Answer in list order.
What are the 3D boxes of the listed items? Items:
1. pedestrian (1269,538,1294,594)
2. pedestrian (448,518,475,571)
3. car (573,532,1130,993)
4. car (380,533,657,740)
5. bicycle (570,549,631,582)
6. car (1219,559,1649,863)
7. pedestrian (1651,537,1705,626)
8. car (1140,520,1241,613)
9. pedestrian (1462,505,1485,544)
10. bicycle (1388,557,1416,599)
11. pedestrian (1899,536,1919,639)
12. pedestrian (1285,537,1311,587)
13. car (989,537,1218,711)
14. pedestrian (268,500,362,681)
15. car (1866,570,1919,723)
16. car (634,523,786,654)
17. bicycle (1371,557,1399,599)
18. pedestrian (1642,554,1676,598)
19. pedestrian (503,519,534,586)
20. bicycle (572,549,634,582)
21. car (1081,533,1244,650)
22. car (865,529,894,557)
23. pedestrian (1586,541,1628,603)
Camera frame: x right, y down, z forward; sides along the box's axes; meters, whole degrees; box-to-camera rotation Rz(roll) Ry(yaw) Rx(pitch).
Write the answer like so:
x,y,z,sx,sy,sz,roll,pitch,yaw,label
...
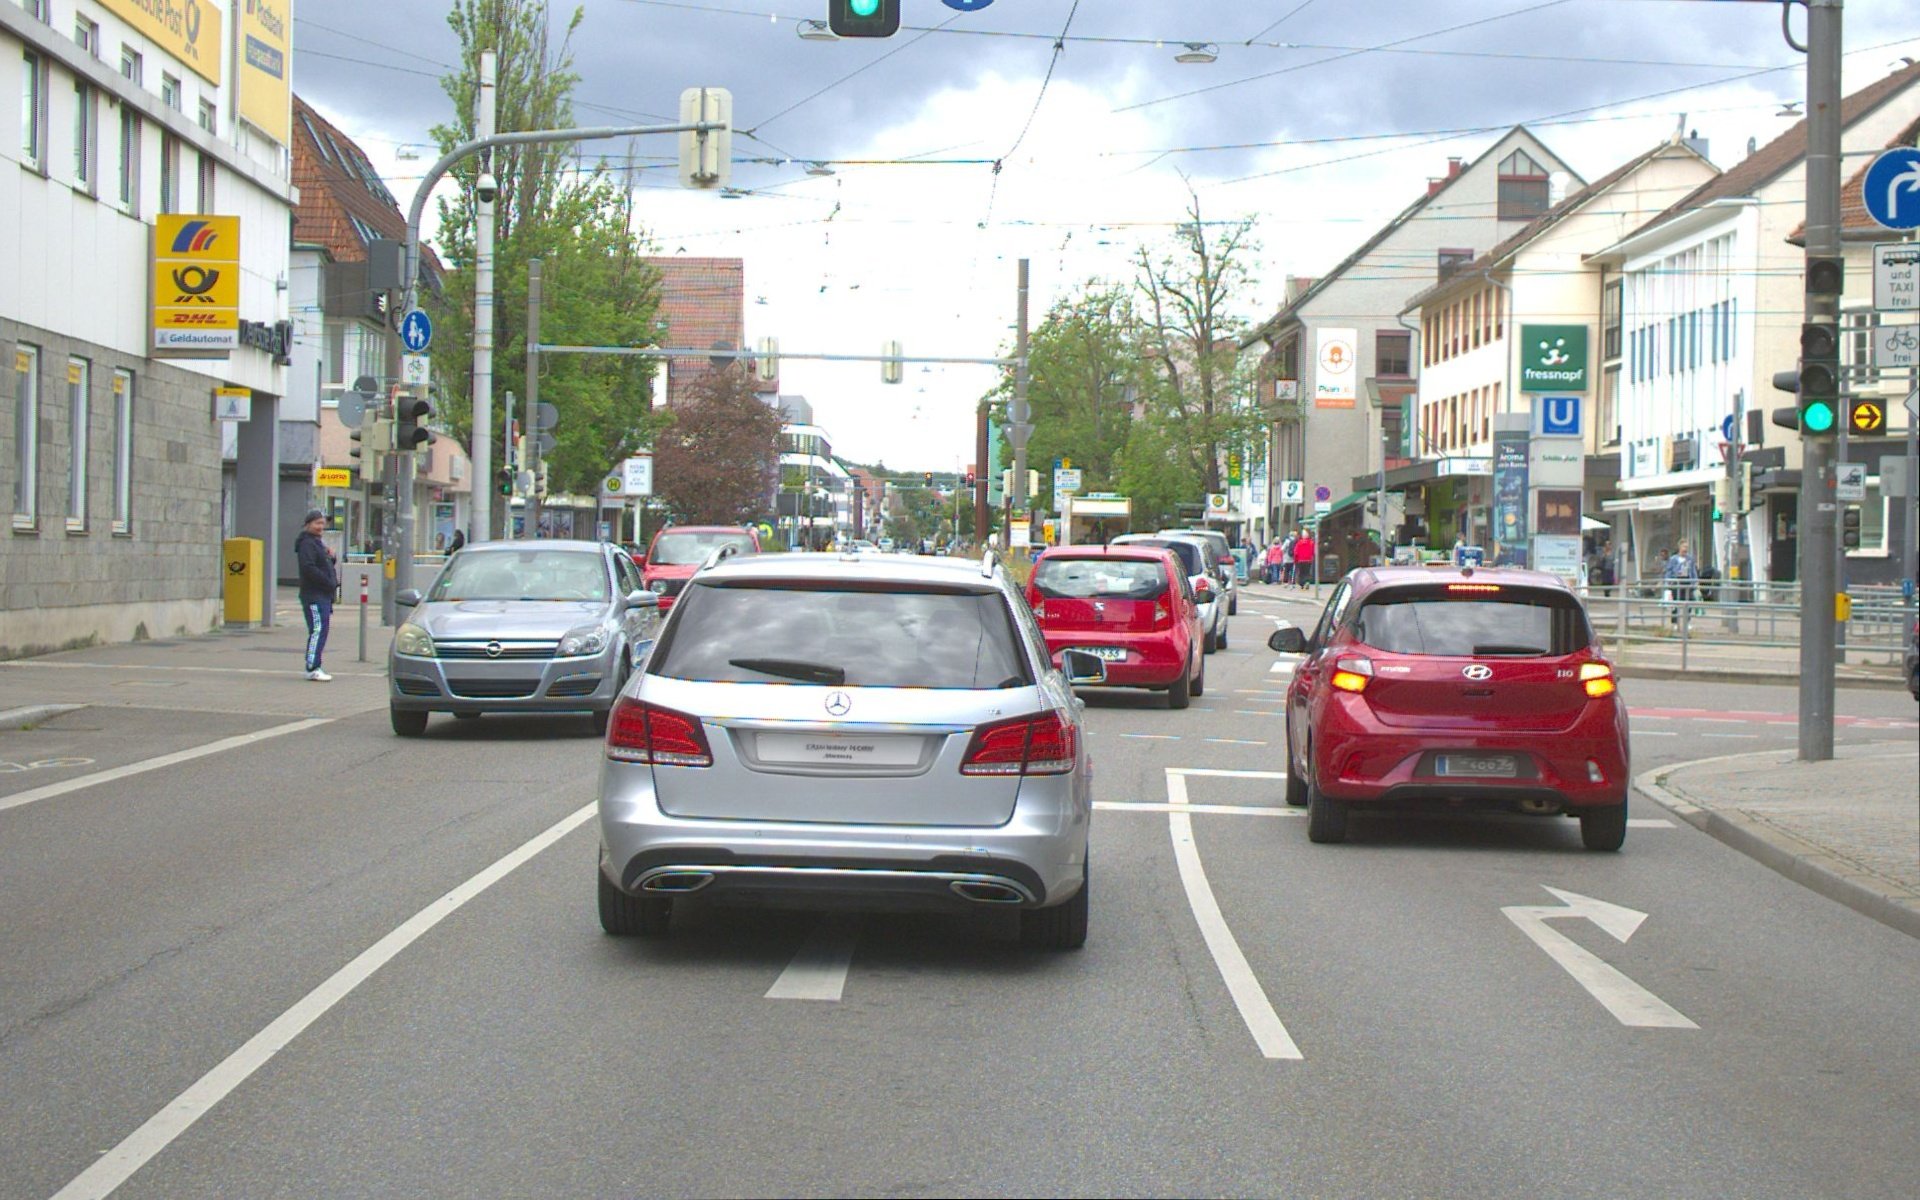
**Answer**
x,y,z,sx,sy,sz,roll,pitch,yaw,label
9.776,-1.043,104.555,0.577,1.661,0.651,2,1,-8,pedestrian
-15.296,-1.697,105.518,0.702,1.600,0.580,1,1,-21,pedestrian
-0.481,0.520,13.862,1.845,1.503,4.172,3,1,-3,car
-3.317,0.222,26.422,1.657,1.461,3.921,0,1,-1,car
-11.846,-1.138,113.251,1.937,1.025,0.530,2,1,-10,bicycle
2.597,0.551,19.732,1.698,1.447,4.001,3,1,-2,car
14.039,-0.363,67.203,0.841,1.712,0.727,1,1,-4,pedestrian
4.539,-0.682,68.192,1.734,1.753,4.000,1,1,0,car
15.989,-2.351,107.039,0.533,1.214,0.580,2,1,-3,pedestrian
11.741,-0.596,91.428,0.448,1.103,2.149,1,1,0,bicycle
16.318,-0.215,57.879,0.702,1.712,0.650,0,1,-18,pedestrian
9.964,-1.120,101.314,0.578,1.464,0.651,2,1,-6,pedestrian
1.421,0.178,32.649,1.735,1.503,3.999,2,1,8,car
-6.275,-0.099,33.471,0.648,1.712,0.782,2,1,6,pedestrian
10.654,0.437,32.928,3.988,1.406,1.739,0,2,-38,car
-3.339,-0.188,46.449,1.799,1.689,3.898,0,1,-1,car
11.291,-0.595,91.425,0.448,1.087,2.149,1,1,0,bicycle
18.775,-0.654,92.351,0.736,1.160,0.643,2,1,-3,pedestrian
-10.510,-1.132,81.835,0.633,1.600,0.705,1,1,-14,pedestrian
-11.697,-1.123,112.593,1.937,1.025,0.530,2,1,-10,bicycle
2.694,-0.149,46.459,1.734,1.503,4.001,1,1,-3,car
-5.882,-4.186,251.394,1.993,2.007,4.001,1,1,-2,car
16.929,-0.746,89.937,0.640,1.586,0.898,2,1,-21,pedestrian
